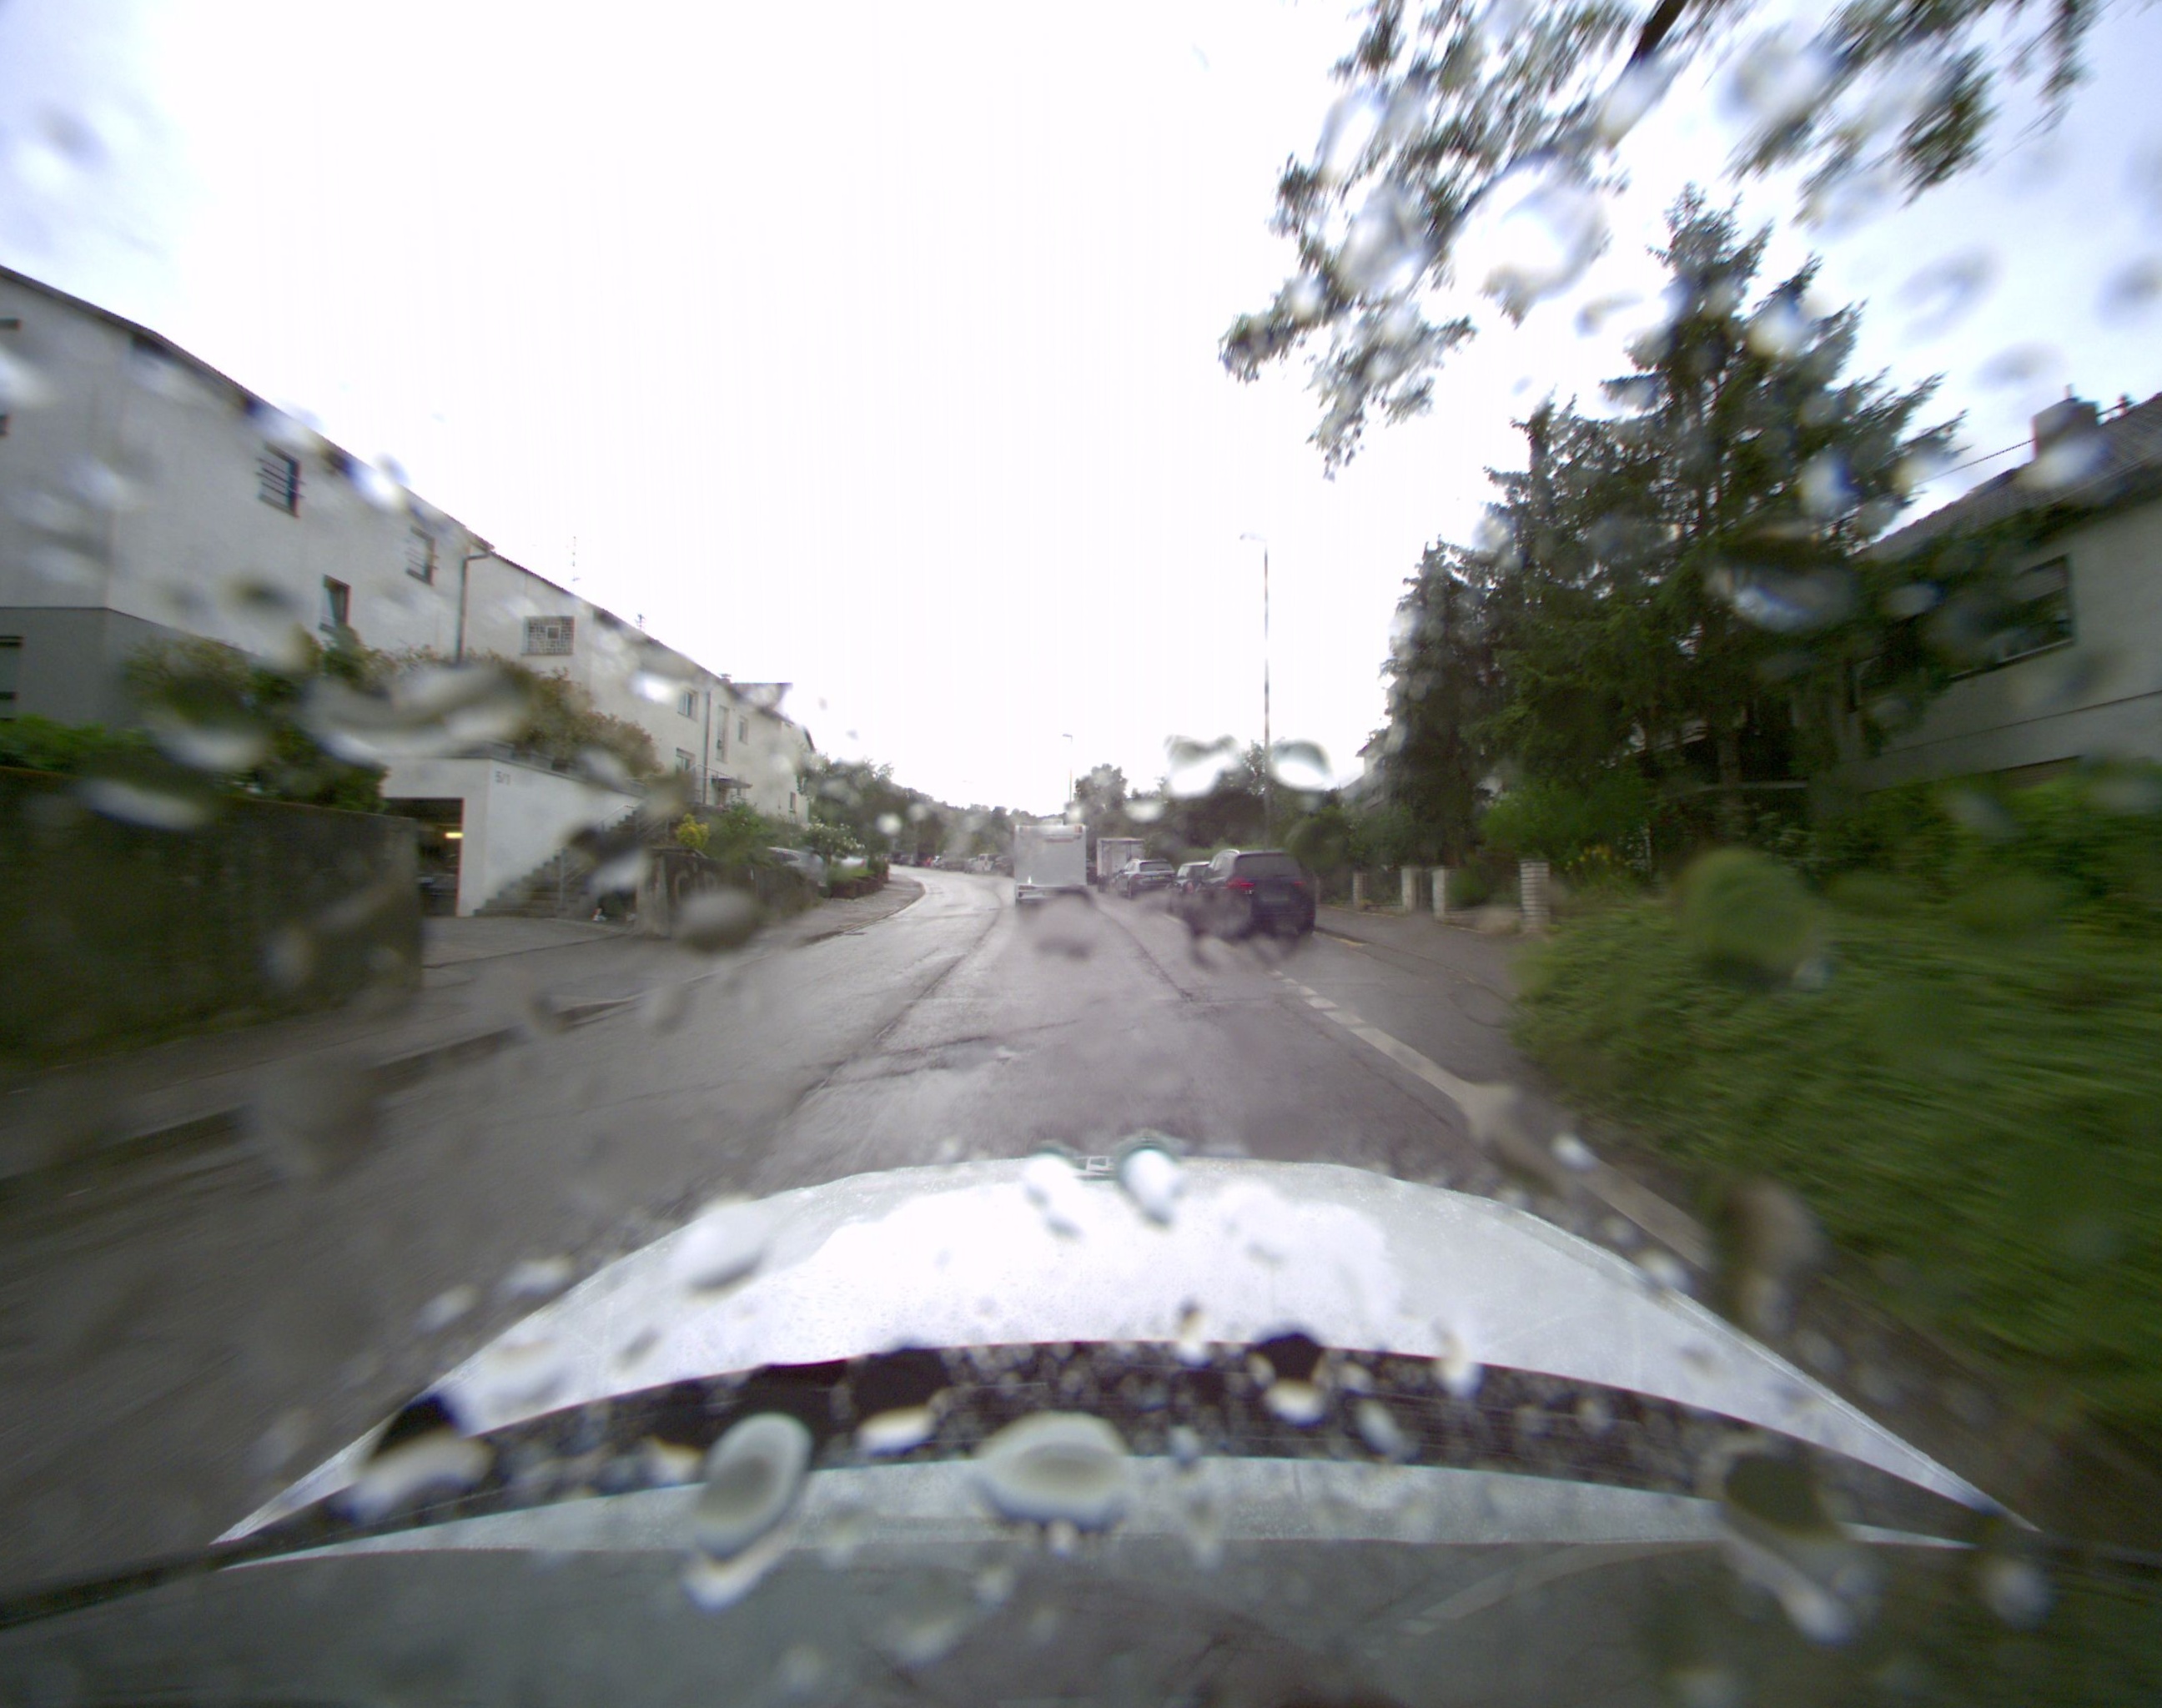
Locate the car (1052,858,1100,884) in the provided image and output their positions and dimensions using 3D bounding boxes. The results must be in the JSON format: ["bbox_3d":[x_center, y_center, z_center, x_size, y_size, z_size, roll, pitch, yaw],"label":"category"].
[{"bbox_3d":[-0.355,0.968,48.037,1.795,1.459,4.766,0,0,-14],"label":"car"}]

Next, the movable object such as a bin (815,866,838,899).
[{"bbox_3d":[-8.884,0.997,28.472,0.537,1.076,0.741,6,-1,-7],"label":"movable object such as a bin"}]

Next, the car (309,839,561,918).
[{"bbox_3d":[-12.995,0.597,16.799,1.782,1.355,4.114,0,-5,0],"label":"car"}]

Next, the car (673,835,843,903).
[{"bbox_3d":[-10.234,0.489,26.105,4.502,1.614,1.929,6,-1,-5],"label":"car"}]

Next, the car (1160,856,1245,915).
[{"bbox_3d":[3.215,0.808,22.202,1.630,1.457,3.697,0,-1,-2],"label":"car"}]

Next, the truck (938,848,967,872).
[{"bbox_3d":[-14.601,0.713,92.479,2.245,2.631,6.498,0,-1,-18],"label":"truck"}]

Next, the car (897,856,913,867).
[{"bbox_3d":[-27.787,1.219,128.512,1.941,1.672,4.666,0,0,-17],"label":"car"}]

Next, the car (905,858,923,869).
[{"bbox_3d":[-24.929,1.421,121.402,1.852,1.683,5.601,0,-1,-19],"label":"car"}]

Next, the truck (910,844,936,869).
[{"bbox_3d":[-22.044,0.327,113.385,2.444,3.335,7.912,0,-1,-19],"label":"truck"}]

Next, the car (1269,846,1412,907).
[{"bbox_3d":[8.351,0.717,26.436,3.992,1.688,1.777,4,-1,-1],"label":"car"}]

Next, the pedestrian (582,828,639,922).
[{"bbox_3d":[-8.521,0.370,14.777,0.655,1.649,0.730,1,1,-8],"label":"pedestrian"}]

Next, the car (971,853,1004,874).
[{"bbox_3d":[-8.631,0.897,75.095,1.856,1.882,4.875,0,-1,-22],"label":"car"}]

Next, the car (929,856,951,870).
[{"bbox_3d":[-17.156,1.110,98.995,1.765,1.604,4.635,0,-1,-20],"label":"car"}]

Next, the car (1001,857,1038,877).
[{"bbox_3d":[-4.913,1.026,64.285,1.821,1.506,4.695,0,-1,-18],"label":"car"}]

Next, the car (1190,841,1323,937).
[{"bbox_3d":[3.431,0.644,16.780,1.823,1.701,4.460,0,-1,0],"label":"car"}]

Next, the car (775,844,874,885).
[{"bbox_3d":[-12.981,0.532,41.354,4.238,1.432,1.766,9,-1,1],"label":"car"}]

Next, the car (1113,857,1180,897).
[{"bbox_3d":[2.468,0.843,31.740,1.745,1.424,4.693,0,-1,-6],"label":"car"}]

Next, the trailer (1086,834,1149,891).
[{"bbox_3d":[1.611,0.393,37.950,1.948,2.457,5.418,0,-1,-8],"label":"trailer"}]

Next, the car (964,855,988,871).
[{"bbox_3d":[-10.394,0.907,80.233,1.652,1.563,3.939,0,-1,-18],"label":"car"}]

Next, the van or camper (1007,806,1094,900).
[{"bbox_3d":[-1.175,0.089,28.152,2.611,2.853,6.019,1,-2,-5],"label":"van or camper"}]

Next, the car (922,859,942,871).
[{"bbox_3d":[-19.494,1.442,106.507,1.838,1.438,4.952,0,-1,-20],"label":"car"}]

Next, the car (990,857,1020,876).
[{"bbox_3d":[-6.569,1.055,69.690,1.649,1.541,4.326,0,-1,-18],"label":"car"}]
